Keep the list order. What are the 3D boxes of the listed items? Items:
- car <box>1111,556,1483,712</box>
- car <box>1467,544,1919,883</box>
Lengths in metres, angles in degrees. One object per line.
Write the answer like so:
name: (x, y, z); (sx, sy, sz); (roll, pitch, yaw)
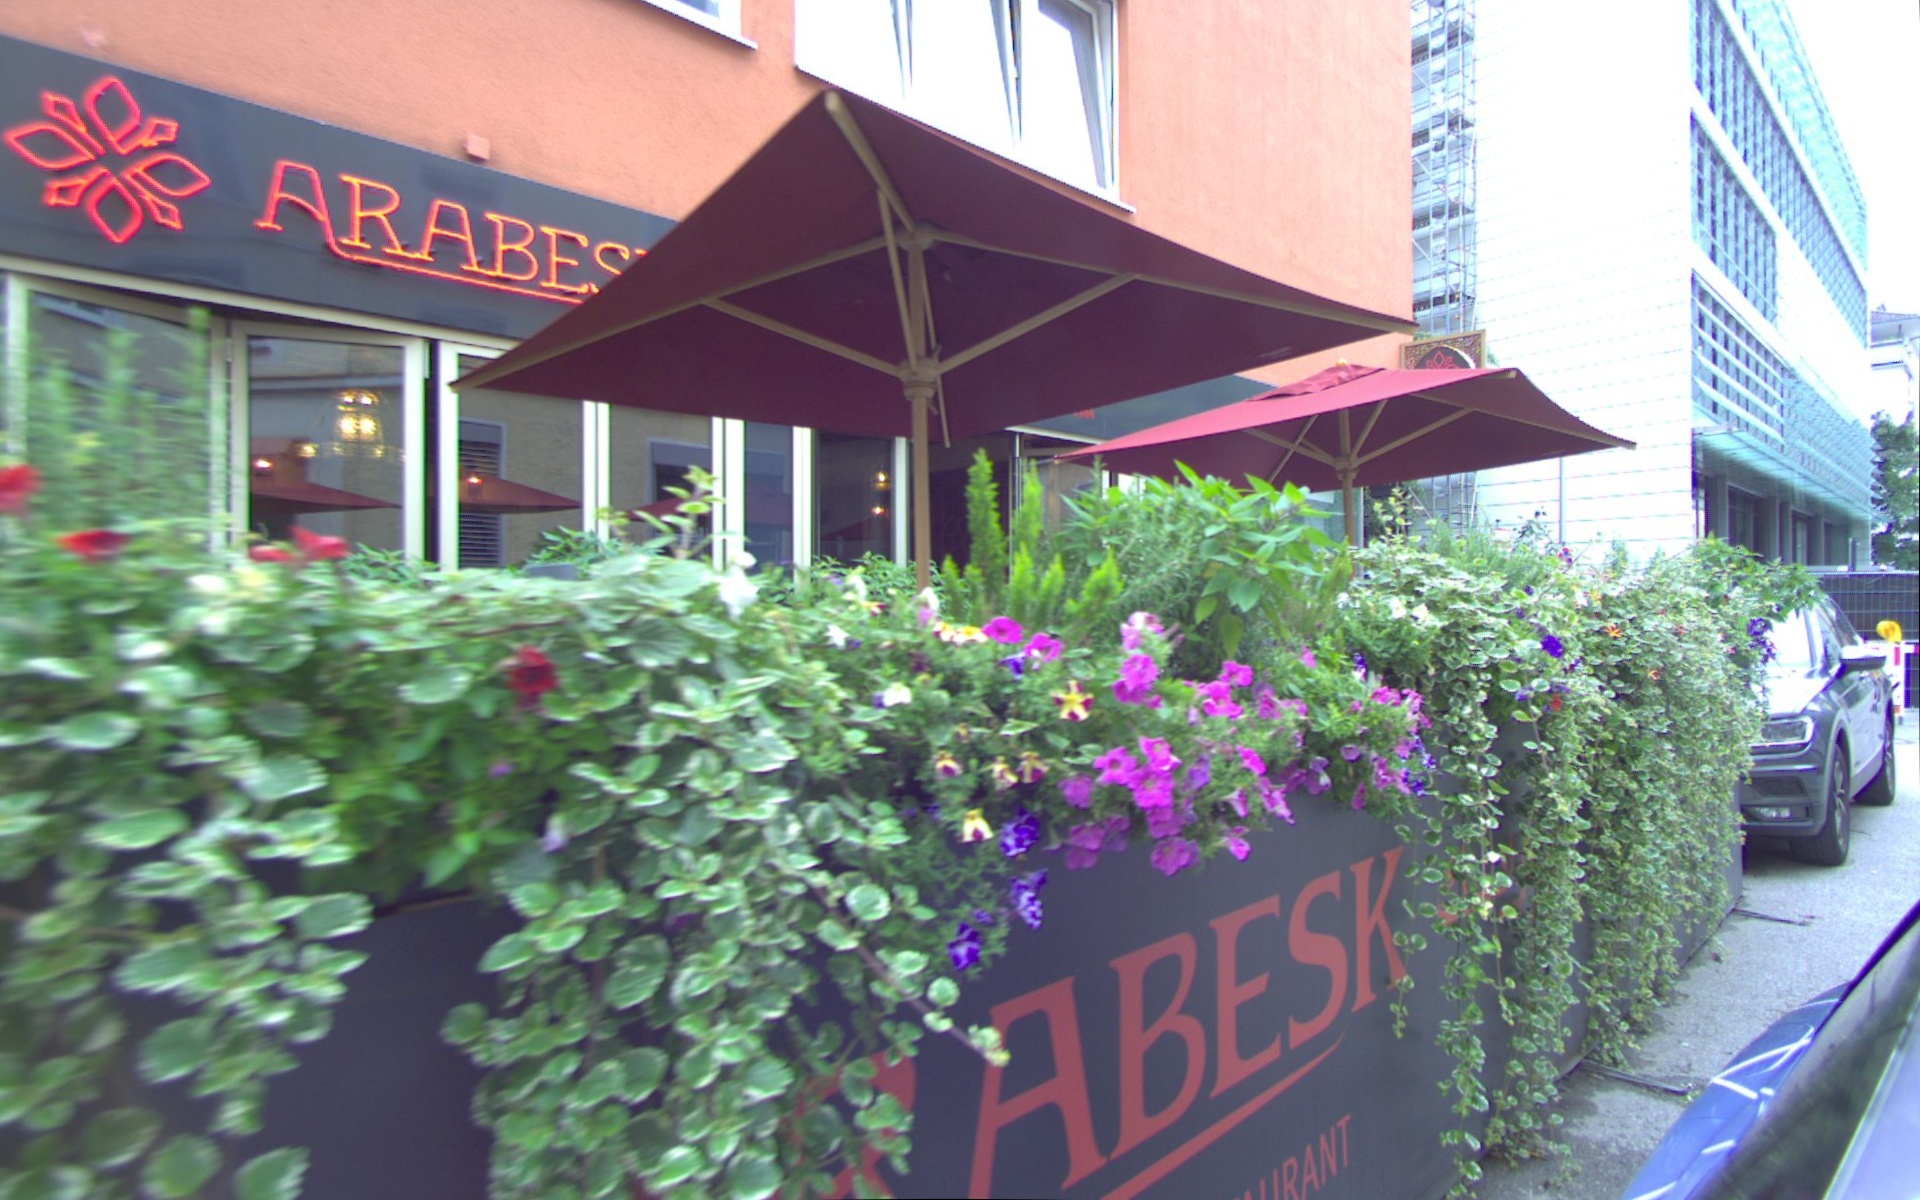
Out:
car: (4.353, 0.354, 13.641); (1.809, 1.742, 4.467); (0, 0, -42)
car: (5.517, 0.587, 7.306); (4.313, 1.732, 1.826); (0, -1, -41)
